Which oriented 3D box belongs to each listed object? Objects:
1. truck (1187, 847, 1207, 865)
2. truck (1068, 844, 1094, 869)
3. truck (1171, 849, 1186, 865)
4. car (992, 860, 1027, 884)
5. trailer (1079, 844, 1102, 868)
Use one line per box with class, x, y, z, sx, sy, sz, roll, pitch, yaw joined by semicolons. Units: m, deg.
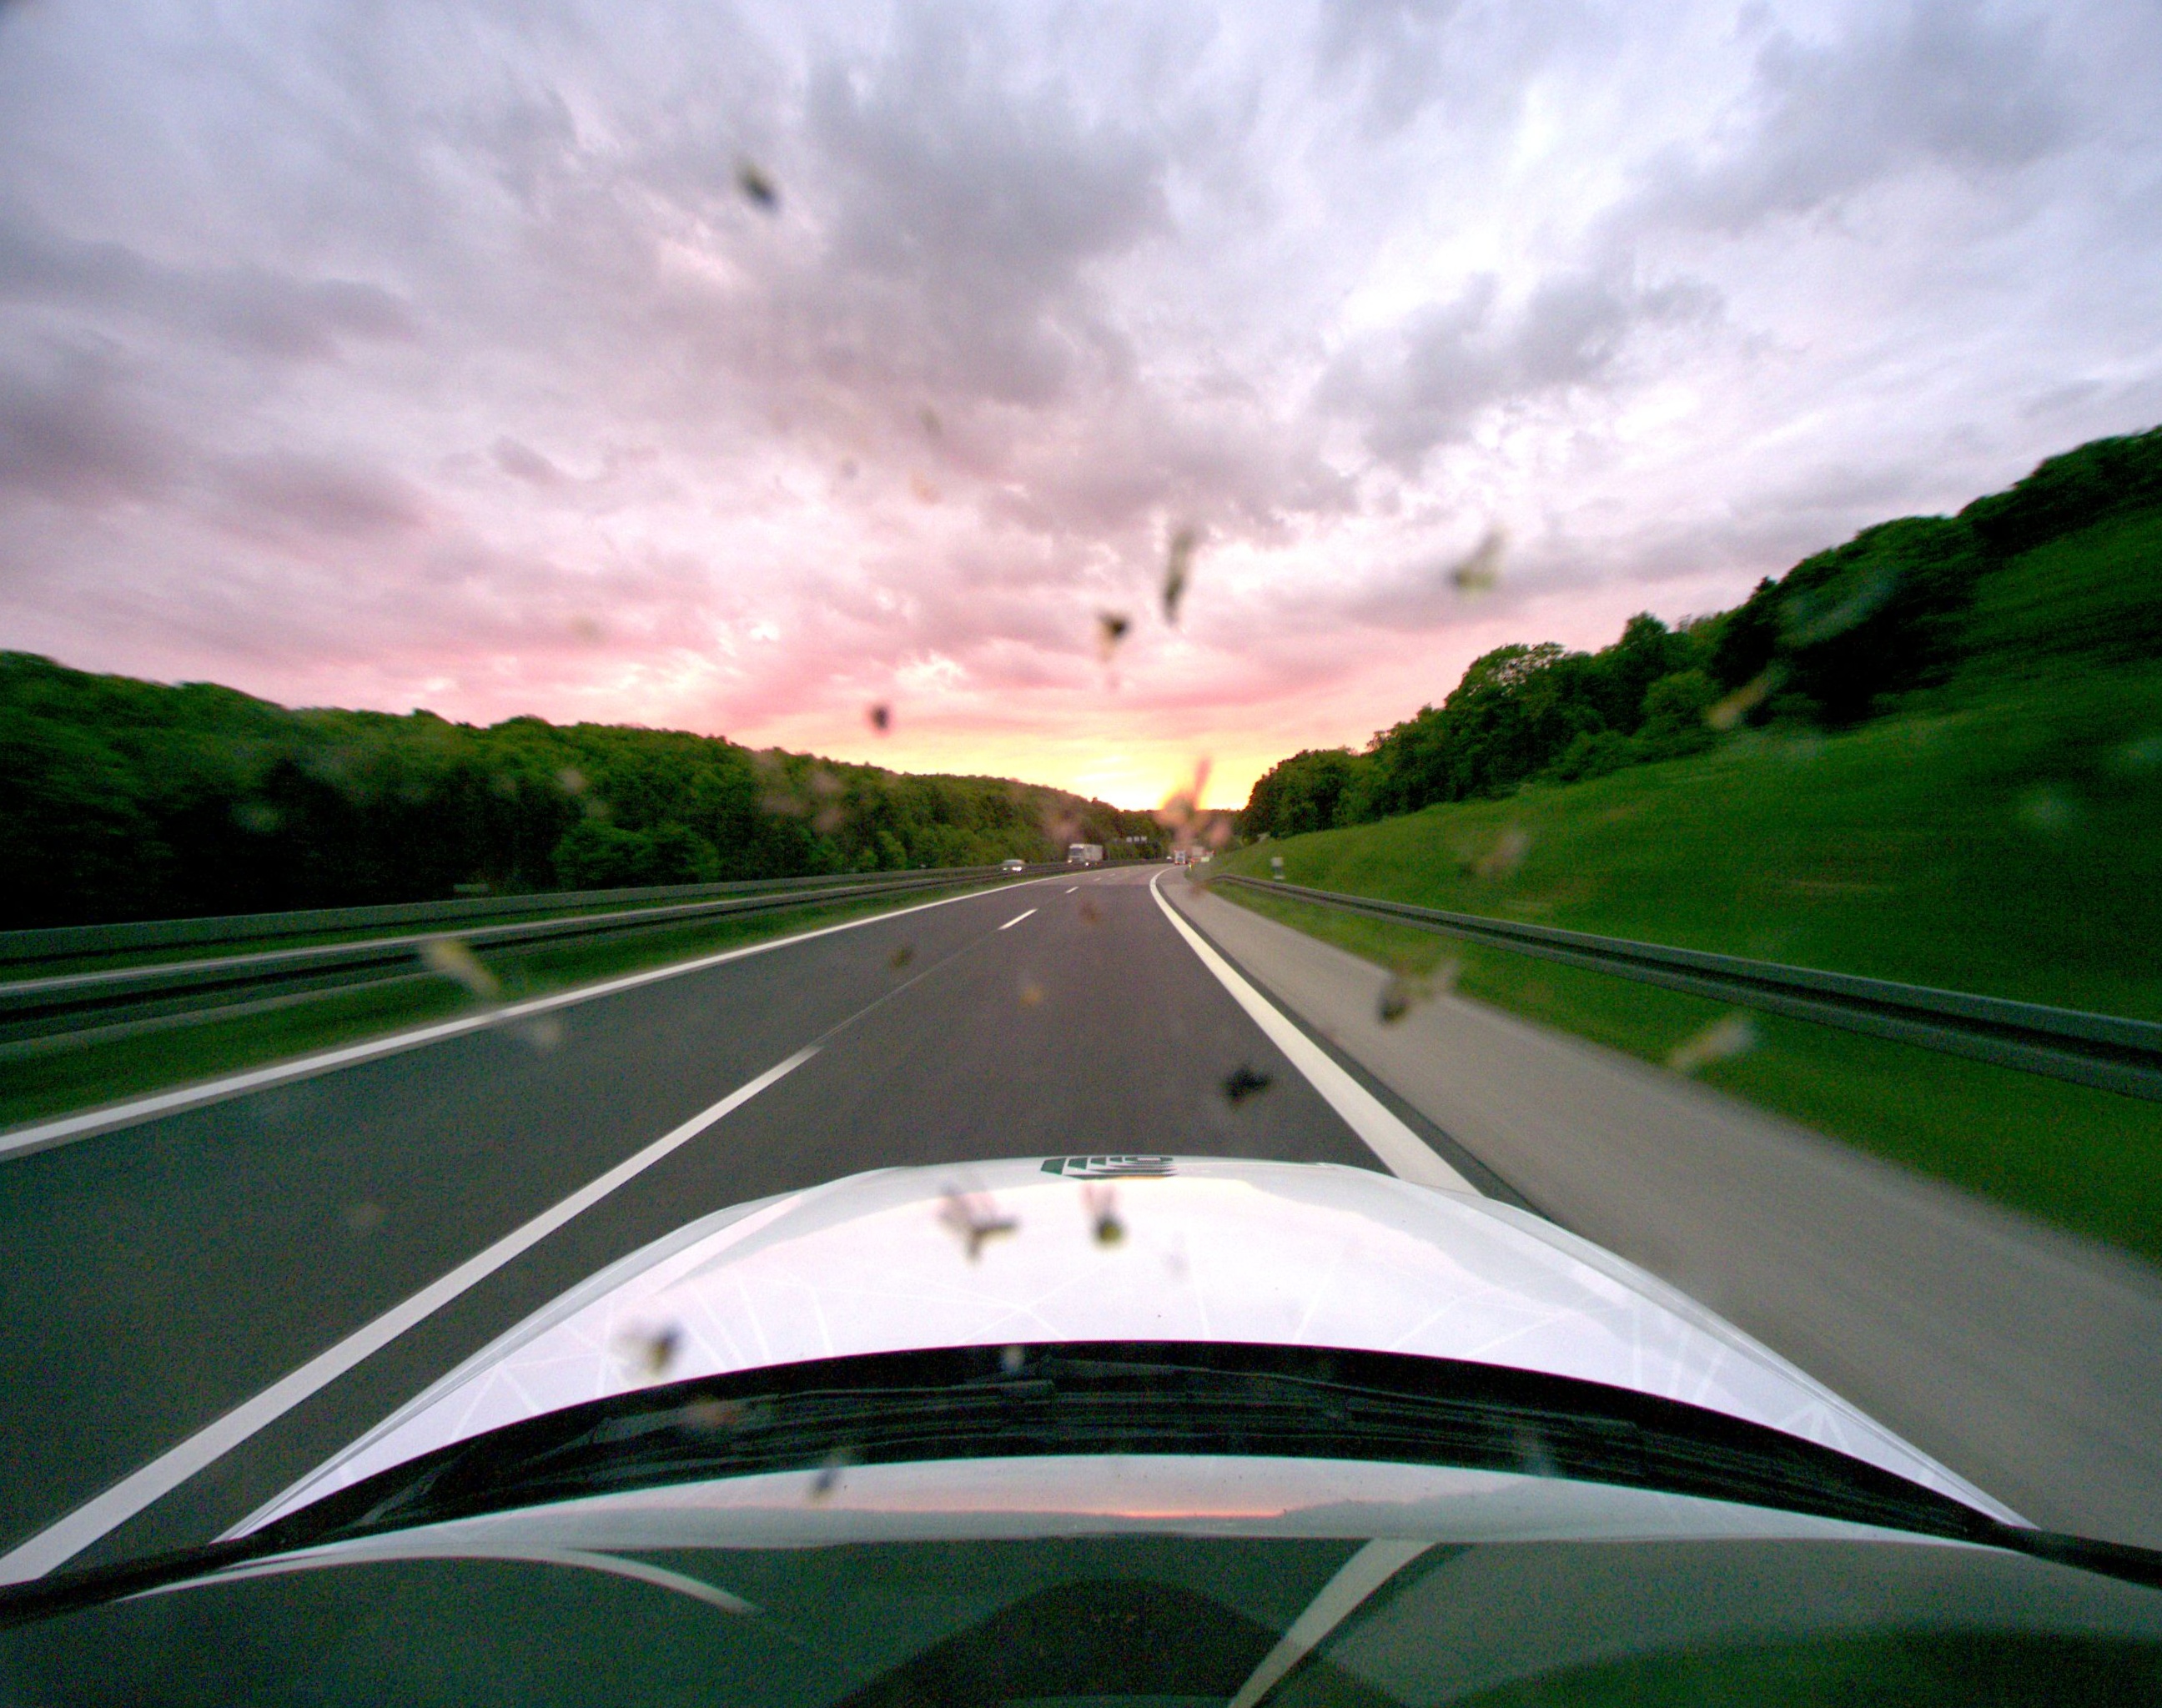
truck;30.185;0.371;211.410;3.931;4.287;14.371;-3;0;12
truck;0.081;0.423;143.439;2.847;4.281;10.093;-2;0;10
truck;18.576;0.604;155.490;2.261;2.664;5.253;-3;1;11
car;-6.609;1.630;75.852;1.982;2.013;5.181;-3;-1;8
trailer;1.820;0.419;153.010;2.814;4.317;9.318;-2;0;10
